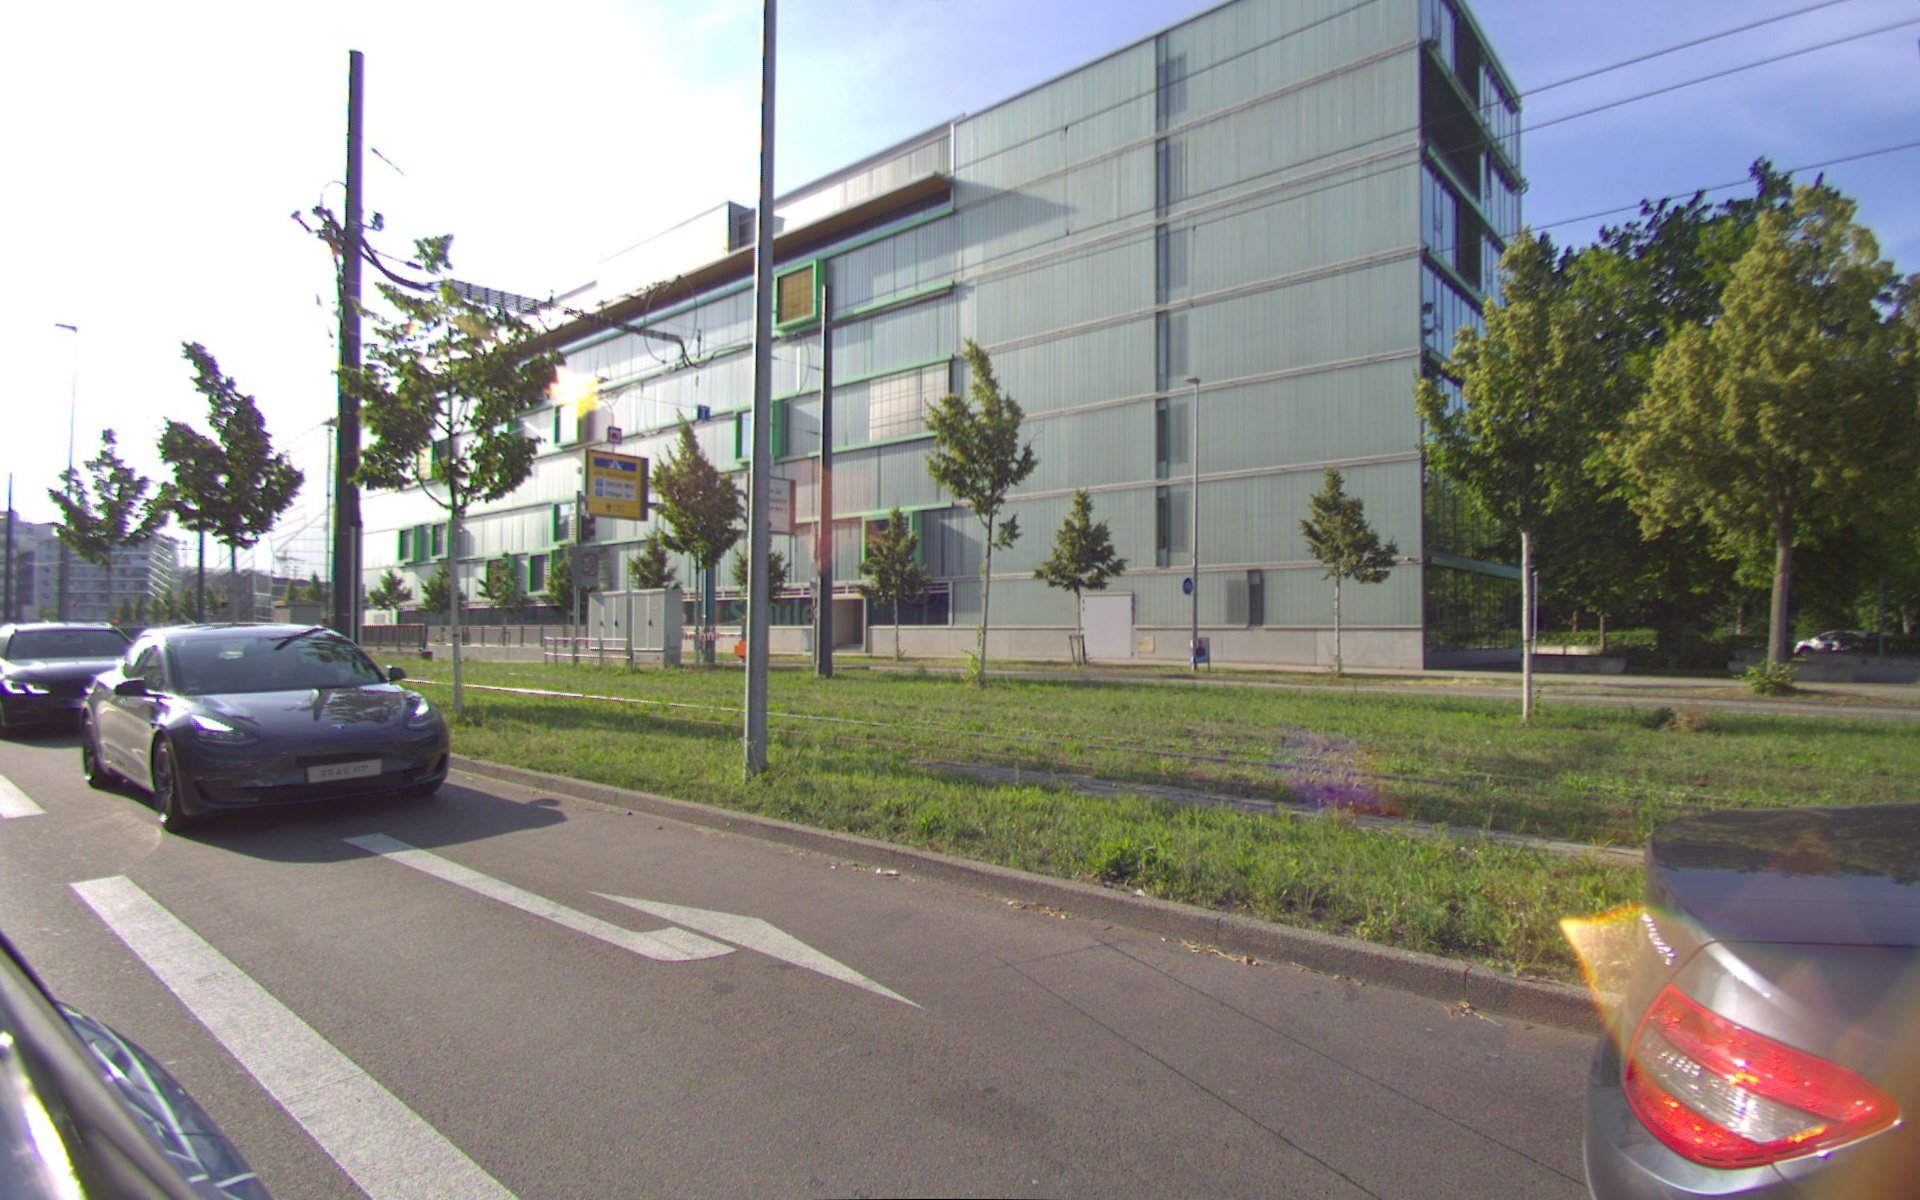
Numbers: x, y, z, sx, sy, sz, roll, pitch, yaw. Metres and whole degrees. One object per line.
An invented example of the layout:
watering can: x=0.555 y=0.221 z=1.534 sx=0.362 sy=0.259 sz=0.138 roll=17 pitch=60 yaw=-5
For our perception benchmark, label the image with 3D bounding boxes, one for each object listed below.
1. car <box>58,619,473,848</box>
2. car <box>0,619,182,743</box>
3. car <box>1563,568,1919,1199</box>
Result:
car: x=-5.990 y=0.910 z=8.509 sx=4.332 sy=1.396 sz=1.870 roll=-2 pitch=-1 yaw=41
car: x=-12.636 y=1.048 z=14.223 sx=4.471 sy=1.437 sz=1.870 roll=-2 pitch=-1 yaw=41
car: x=3.042 y=0.649 z=0.567 sx=4.353 sy=1.490 sz=1.767 roll=-2 pitch=-1 yaw=43
